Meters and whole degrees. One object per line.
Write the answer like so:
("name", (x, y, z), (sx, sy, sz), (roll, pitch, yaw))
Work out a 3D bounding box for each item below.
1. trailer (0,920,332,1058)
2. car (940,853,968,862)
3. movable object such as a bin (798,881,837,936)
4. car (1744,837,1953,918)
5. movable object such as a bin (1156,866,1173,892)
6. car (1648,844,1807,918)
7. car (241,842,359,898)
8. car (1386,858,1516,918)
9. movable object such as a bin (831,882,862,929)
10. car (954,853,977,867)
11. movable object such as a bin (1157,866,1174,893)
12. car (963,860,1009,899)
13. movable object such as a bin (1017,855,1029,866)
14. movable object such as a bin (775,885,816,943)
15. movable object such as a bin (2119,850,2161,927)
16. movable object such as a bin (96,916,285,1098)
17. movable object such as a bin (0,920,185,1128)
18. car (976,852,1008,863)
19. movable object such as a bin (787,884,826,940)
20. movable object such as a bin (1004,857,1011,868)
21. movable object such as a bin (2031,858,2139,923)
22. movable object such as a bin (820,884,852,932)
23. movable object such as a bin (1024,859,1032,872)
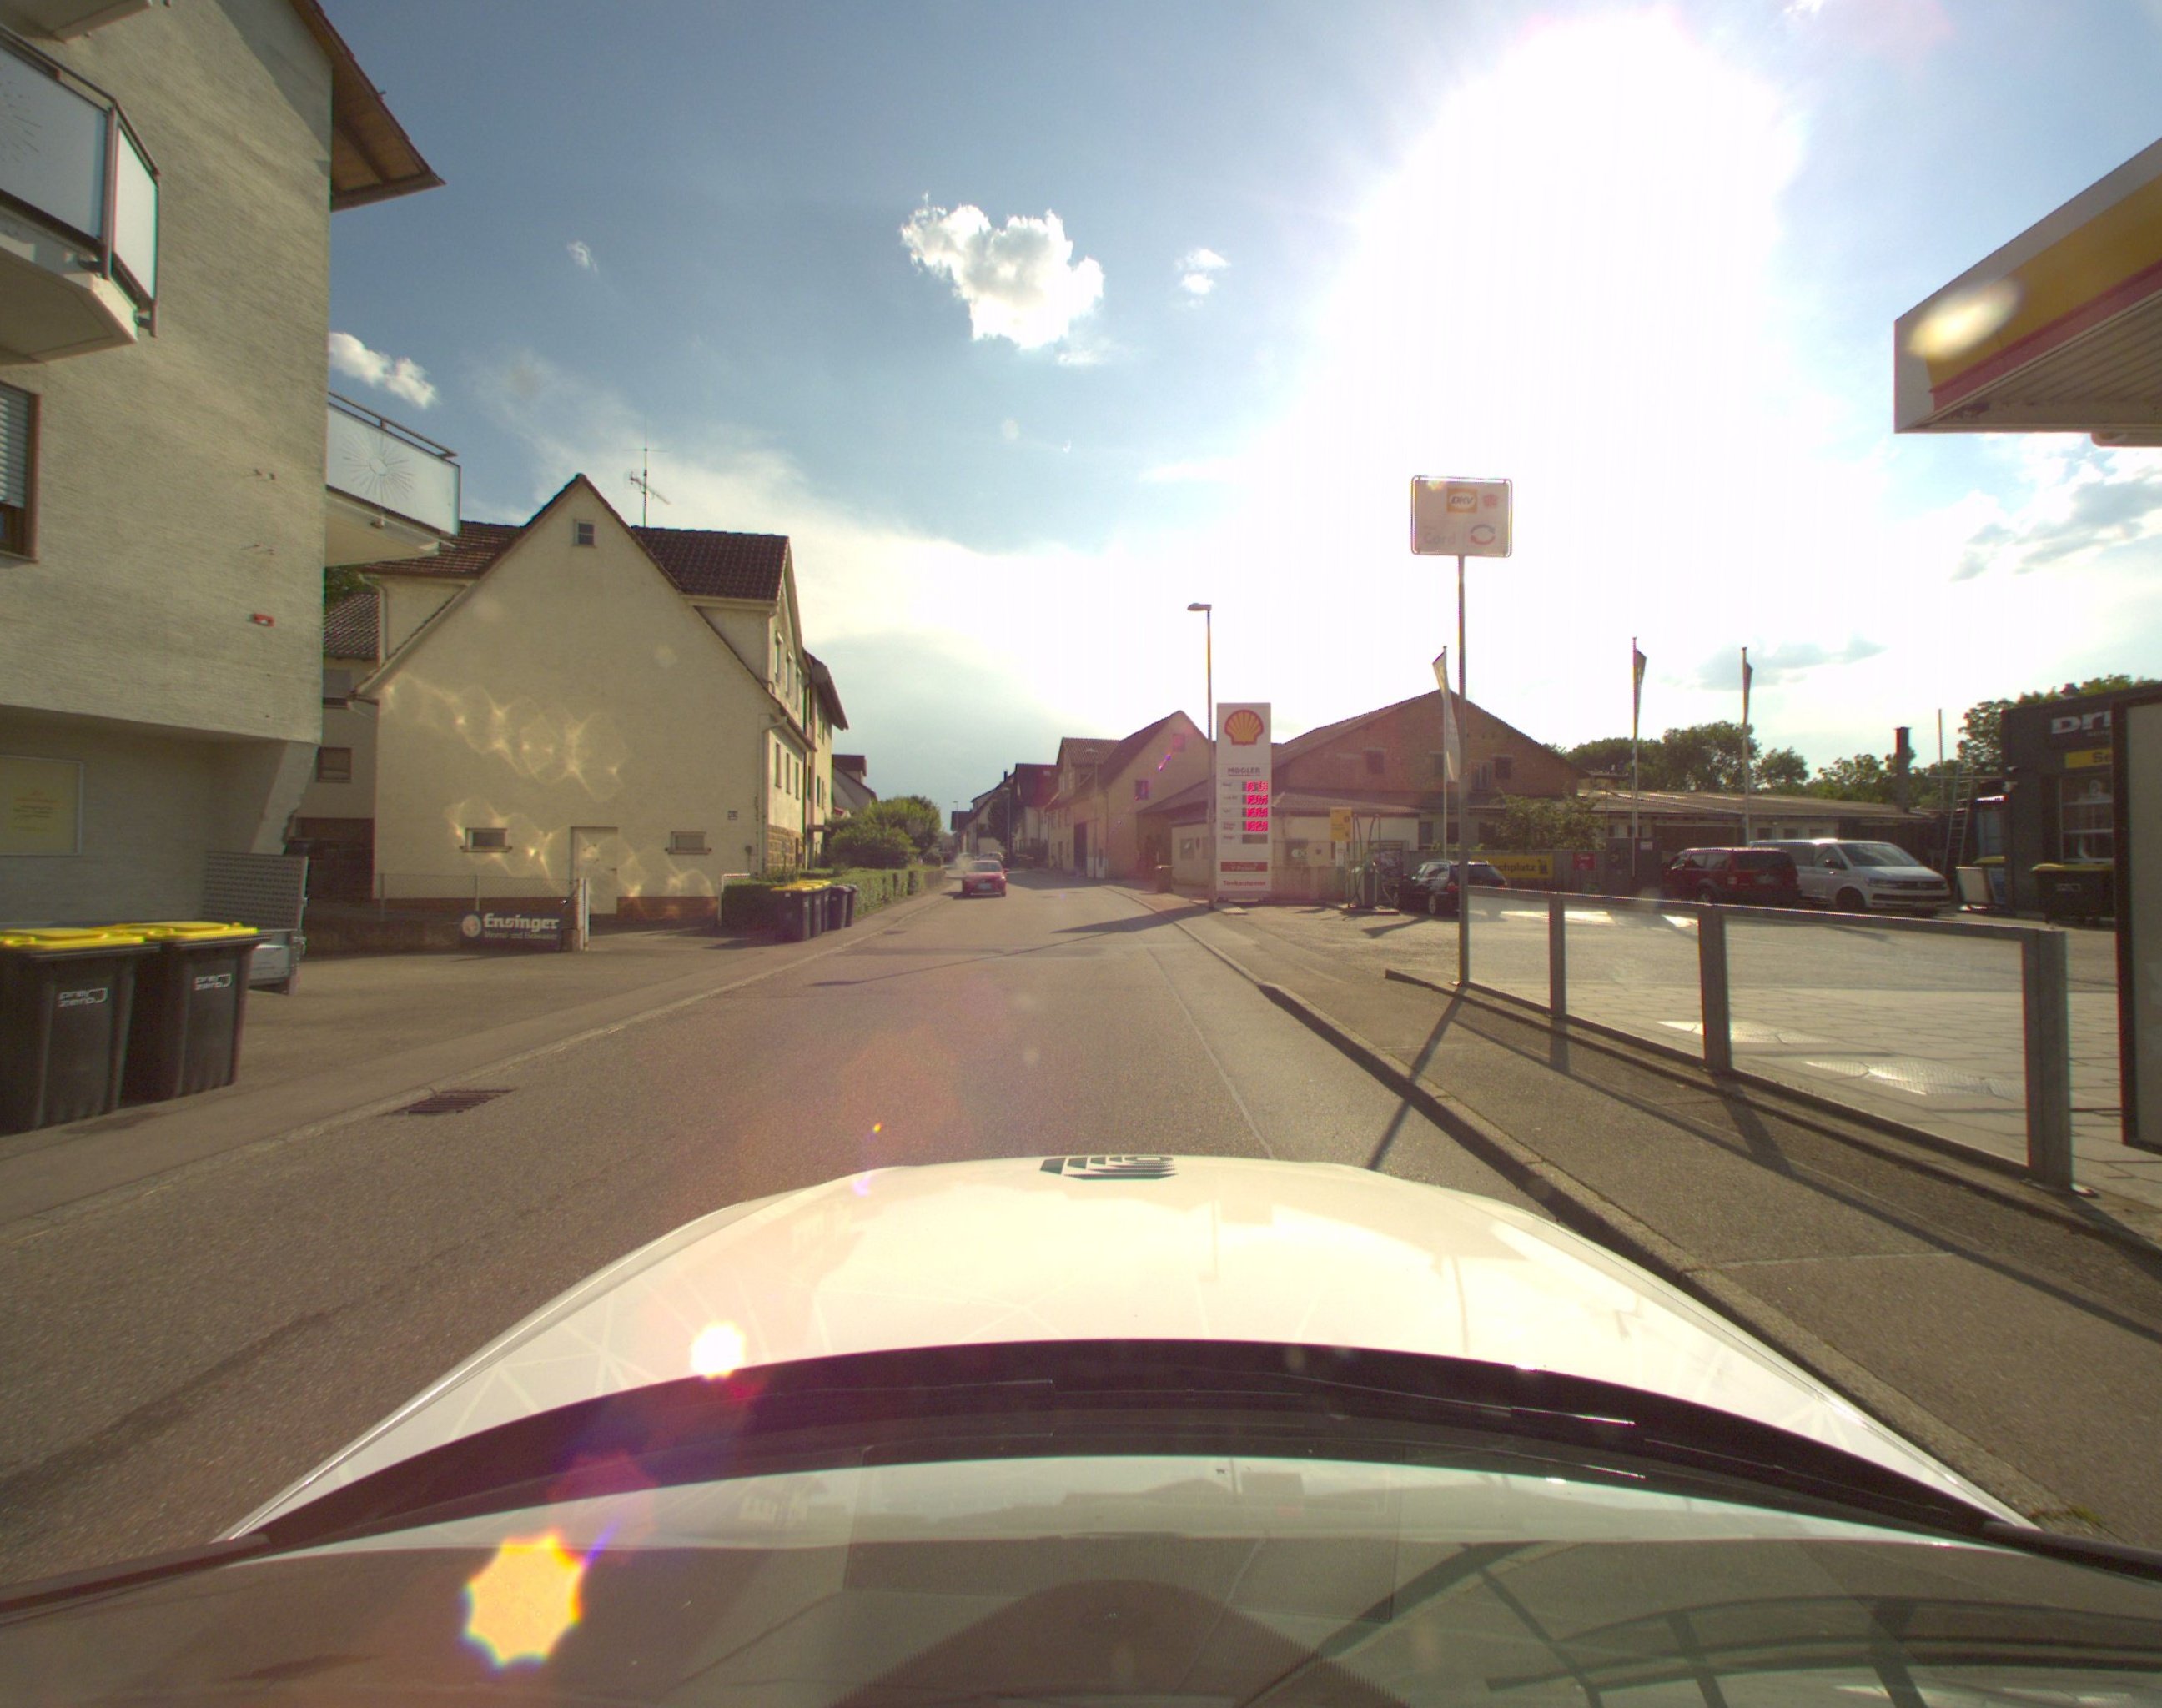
("trailer", (-8.112, 1.020, 6.428), (1.319, 0.855, 2.904), (2, -2, 19))
("car", (-18.966, 0.480, 121.505), (3.992, 1.352, 1.703), (0, 0, -14))
("movable object such as a bin", (-5.589, 1.151, 17.319), (0.586, 1.122, 0.617), (-2, -1, 1))
("car", (20.184, 0.534, 21.734), (1.570, 1.923, 4.559), (-1, 0, 5))
("movable object such as a bin", (3.429, 1.025, 33.574), (0.651, 1.073, 0.513), (0, -1, -1))
("car", (17.017, 0.635, 21.668), (1.570, 1.792, 3.637), (-1, 0, 5))
("car", (-20.632, 0.400, 21.655), (1.433, 1.361, 3.446), (0, 0, -30))
("car", (9.806, 0.835, 21.970), (1.572, 1.427, 4.381), (1, 0, 0))
("movable object such as a bin", (-5.302, 1.167, 18.414), (0.529, 1.022, 0.457), (-2, -1, 1))
("car", (-13.173, 0.658, 92.931), (1.712, 1.578, 3.970), (0, 0, -22))
("movable object such as a bin", (3.417, 1.035, 33.027), (0.651, 1.073, 0.513), (0, -1, -1))
("car", (-3.842, 1.013, 33.256), (1.706, 1.435, 3.772), (-2, -1, -6))
("movable object such as a bin", (-5.858, 0.672, 82.311), (1.161, 1.168, 0.652), (0, -1, -10))
("movable object such as a bin", (-5.634, 1.181, 16.096), (0.586, 1.084, 0.508), (-2, -1, 1))
("movable object such as a bin", (21.843, 0.681, 16.151), (0.984, 1.530, 1.209), (0, 0, 1))
("movable object such as a bin", (-5.864, 0.981, 5.391), (0.568, 1.071, 0.558), (3, -1, 1))
("movable object such as a bin", (-5.941, 0.958, 4.787), (0.597, 1.071, 0.619), (3, -1, 1))
("car", (-11.183, 0.470, 102.775), (3.983, 1.352, 1.706), (0, 0, -7))
("movable object such as a bin", (-5.616, 1.181, 16.692), (0.586, 1.084, 0.530), (-2, -1, 1))
("movable object such as a bin", (-7.263, 0.841, 80.554), (0.654, 1.073, 0.510), (0, -1, -14))
("movable object such as a bin", (21.963, 0.776, 17.841), (0.986, 1.376, 1.126), (0, 0, -4))
("movable object such as a bin", (-5.374, 1.178, 17.893), (0.529, 1.022, 0.457), (-2, -1, 1))
("movable object such as a bin", (-4.669, 1.014, 72.091), (0.654, 1.073, 0.510), (0, -1, -14))
